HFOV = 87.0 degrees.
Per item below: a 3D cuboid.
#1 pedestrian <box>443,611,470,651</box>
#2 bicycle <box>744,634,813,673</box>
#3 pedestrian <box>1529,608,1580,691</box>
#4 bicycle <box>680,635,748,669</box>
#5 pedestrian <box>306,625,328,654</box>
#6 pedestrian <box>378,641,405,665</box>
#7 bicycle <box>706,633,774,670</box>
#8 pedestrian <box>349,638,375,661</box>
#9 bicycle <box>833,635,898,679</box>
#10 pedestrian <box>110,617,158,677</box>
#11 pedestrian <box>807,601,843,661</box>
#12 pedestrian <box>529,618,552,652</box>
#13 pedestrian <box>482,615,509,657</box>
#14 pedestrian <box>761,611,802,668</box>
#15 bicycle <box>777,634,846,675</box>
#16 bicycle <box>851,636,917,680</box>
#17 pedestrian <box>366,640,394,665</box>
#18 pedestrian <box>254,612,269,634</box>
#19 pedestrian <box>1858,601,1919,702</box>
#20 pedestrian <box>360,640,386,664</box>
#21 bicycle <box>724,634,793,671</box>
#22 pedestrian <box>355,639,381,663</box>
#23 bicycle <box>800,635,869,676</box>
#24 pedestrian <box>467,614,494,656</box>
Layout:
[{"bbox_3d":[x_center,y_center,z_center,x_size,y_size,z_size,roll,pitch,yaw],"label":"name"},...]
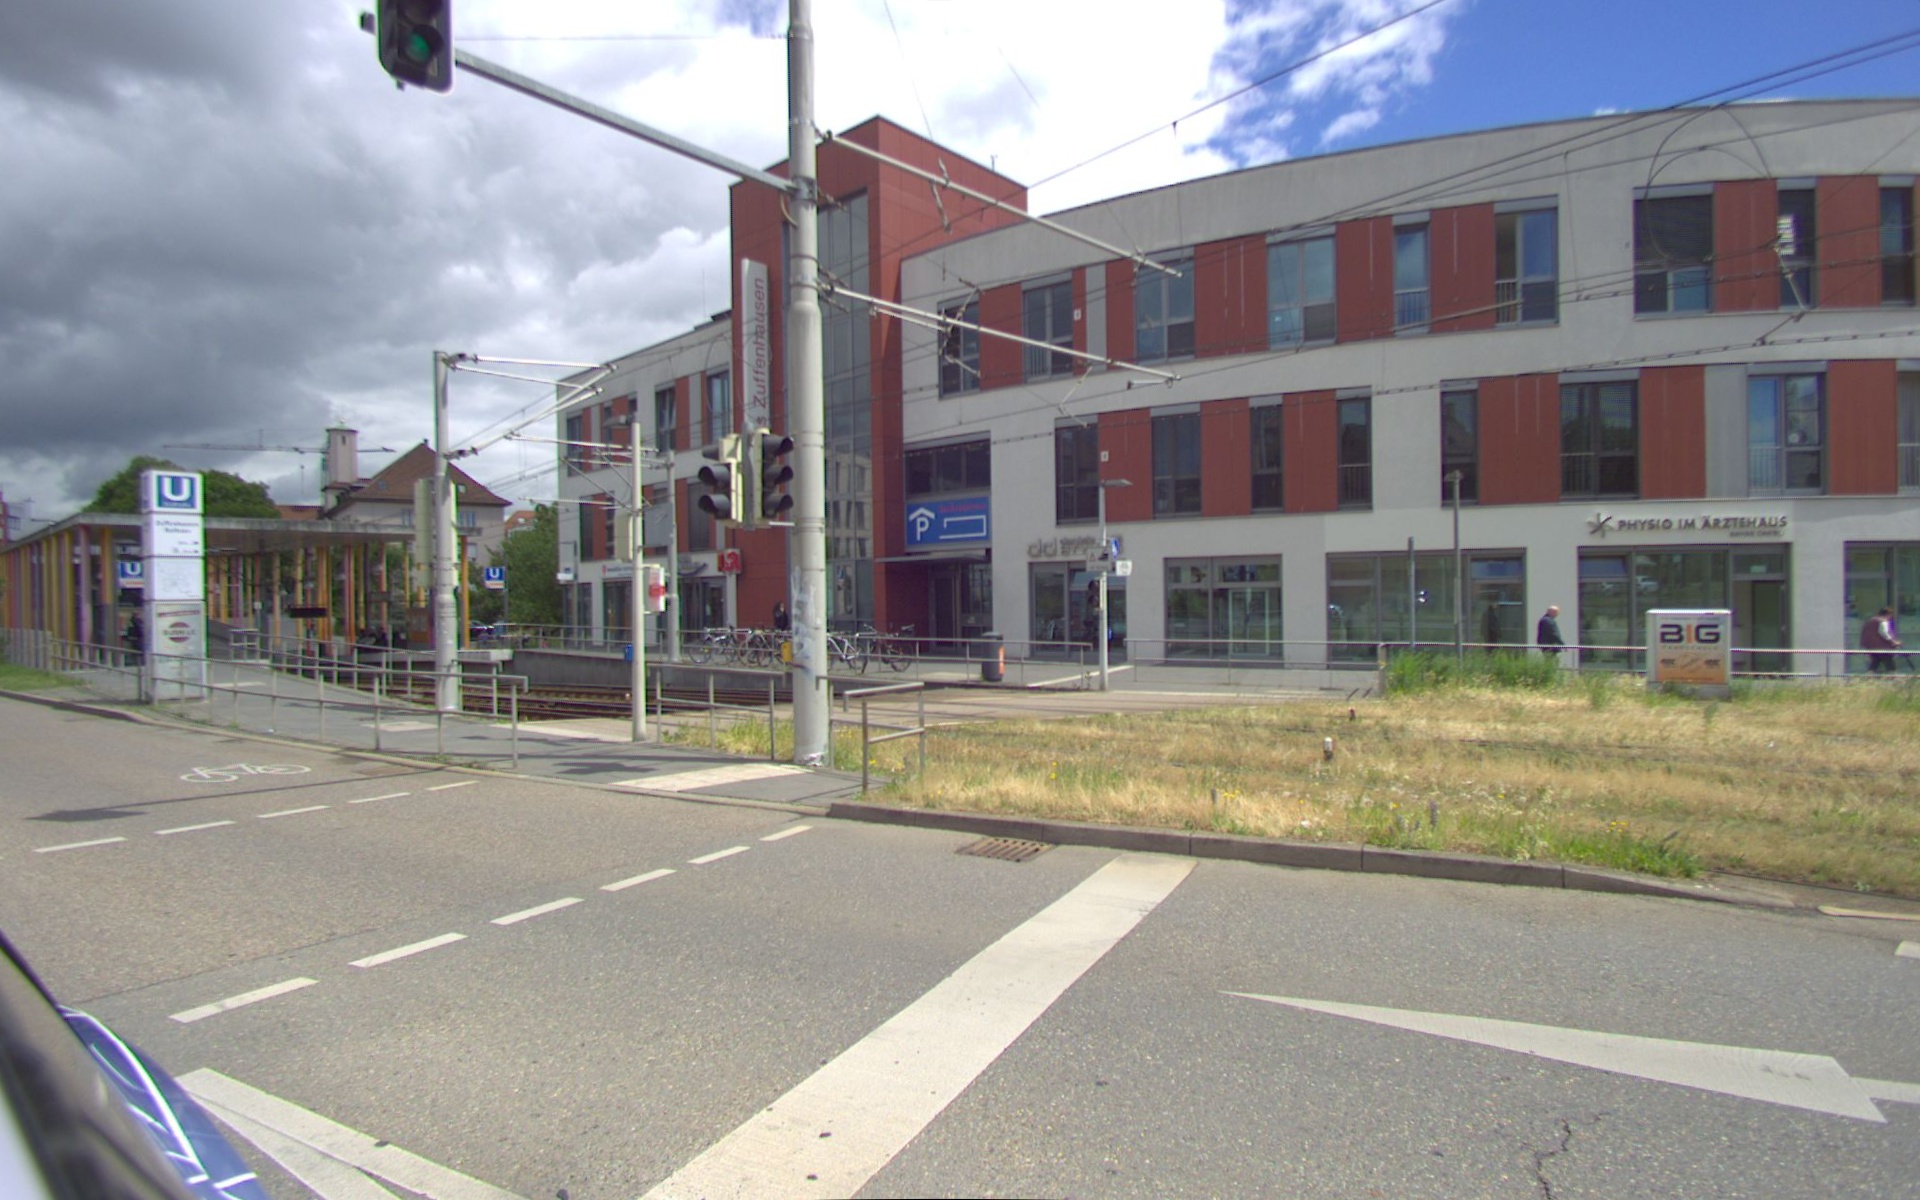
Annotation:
[{"bbox_3d":[-25.045,1.520,50.336,1.106,1.983,0.852,-1,-2,44],"label":"pedestrian"},{"bbox_3d":[-4.723,1.380,26.482,1.836,0.946,0.455,0,-1,-44],"label":"bicycle"},{"bbox_3d":[11.691,0.971,19.921,0.685,1.592,0.731,-1,-2,17],"label":"pedestrian"},{"bbox_3d":[-6.877,1.445,28.357,1.834,0.888,0.455,0,-1,-40],"label":"bicycle"},{"bbox_3d":[-44.773,2.732,70.470,1.112,2.029,1.180,1,-2,-43],"label":"pedestrian"},{"bbox_3d":[-27.285,2.530,48.591,0.886,1.143,0.931,-2,-2,43],"label":"pedestrian"},{"bbox_3d":[-5.993,1.405,27.658,1.834,0.939,0.455,0,-1,-40],"label":"bicycle"},{"bbox_3d":[-30.270,2.515,51.248,0.886,1.143,0.931,-2,-2,43],"label":"pedestrian"},{"bbox_3d":[-2.276,1.367,24.539,0.428,0.965,1.716,-1,-1,44],"label":"bicycle"},{"bbox_3d":[-27.209,1.525,33.345,0.865,1.929,1.090,-1,-2,43],"label":"pedestrian"},{"bbox_3d":[-4.263,0.956,31.976,0.856,1.859,0.876,0,1,14],"label":"pedestrian"},{"bbox_3d":[-24.835,2.074,59.850,1.087,1.983,0.867,1,-2,-33],"label":"pedestrian"},{"bbox_3d":[-22.614,1.736,49.259,0.851,1.983,1.107,2,-2,-43],"label":"pedestrian"},{"bbox_3d":[-5.466,1.198,30.993,0.931,1.711,0.781,0,-1,28],"label":"pedestrian"},{"bbox_3d":[-3.774,1.365,25.821,0.455,0.970,1.837,-1,-1,44],"label":"bicycle"},{"bbox_3d":[-1.794,1.365,24.128,0.428,0.959,1.716,-1,-1,44],"label":"bicycle"},{"bbox_3d":[-28.128,2.533,49.077,0.886,1.143,0.931,-2,-2,43],"label":"pedestrian"},{"bbox_3d":[-67.665,2.225,98.020,1.112,2.029,0.816,1,-2,-43],"label":"pedestrian"},{"bbox_3d":[19.149,1.035,20.539,1.088,1.983,0.866,1,-1,-9],"label":"pedestrian"},{"bbox_3d":[-28.836,2.540,49.722,0.886,1.143,0.931,-2,-2,43],"label":"pedestrian"},{"bbox_3d":[-5.388,1.397,27.090,1.834,0.929,0.455,0,-1,-41],"label":"bicycle"},{"bbox_3d":[-29.517,2.549,50.450,0.886,1.143,0.931,-2,-2,43],"label":"pedestrian"},{"bbox_3d":[-3.099,1.371,25.176,0.455,0.942,1.837,-1,-1,44],"label":"bicycle"},{"bbox_3d":[-23.107,1.680,48.798,0.851,1.983,1.107,2,-2,-43],"label":"pedestrian"}]
